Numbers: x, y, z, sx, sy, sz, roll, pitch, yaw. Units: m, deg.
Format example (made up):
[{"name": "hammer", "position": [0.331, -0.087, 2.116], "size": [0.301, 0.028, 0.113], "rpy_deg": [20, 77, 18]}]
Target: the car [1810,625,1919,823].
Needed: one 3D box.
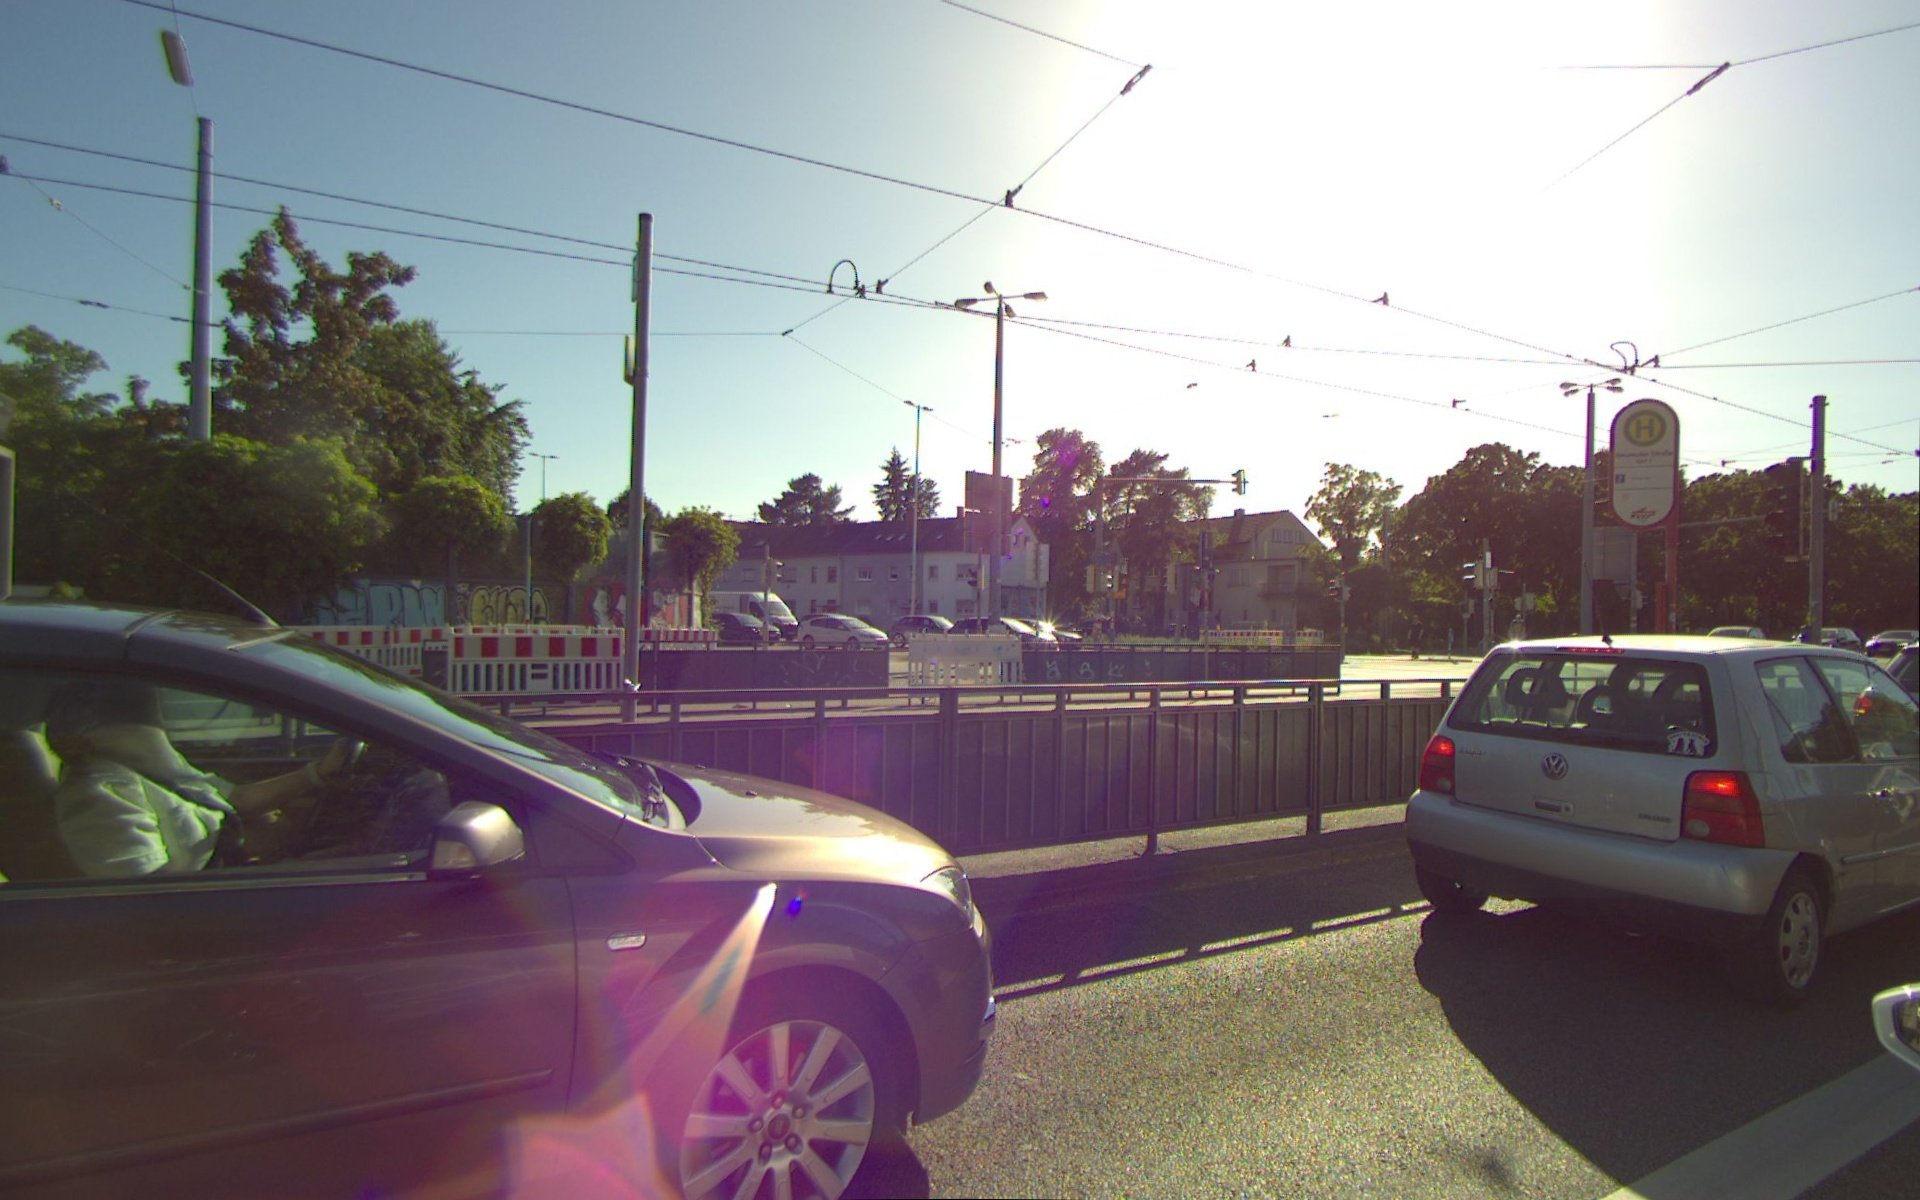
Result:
[{"name": "car", "position": [9.504, 1.024, 8.838], "size": [4.372, 1.548, 1.867], "rpy_deg": [2, -1, -32]}]

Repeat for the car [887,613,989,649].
[{"name": "car", "position": [-0.995, 1.349, 44.868], "size": [4.185, 1.486, 1.933], "rpy_deg": [0, 0, 32]}]

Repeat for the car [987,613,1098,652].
[{"name": "car", "position": [3.391, 1.317, 41.561], "size": [4.175, 1.486, 1.933], "rpy_deg": [0, -1, 32]}]

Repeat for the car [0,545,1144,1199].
[{"name": "car", "position": [-1.692, 0.711, 2.371], "size": [4.150, 1.554, 1.740], "rpy_deg": [2, -1, -33]}]

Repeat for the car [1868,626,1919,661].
[{"name": "car", "position": [48.673, 2.239, 52.006], "size": [3.965, 1.710, 1.778], "rpy_deg": [2, -1, -37]}]

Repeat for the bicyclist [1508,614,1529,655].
[{"name": "bicyclist", "position": [22.459, 1.370, 40.415], "size": [0.641, 1.629, 0.487], "rpy_deg": [1, -1, -31]}]

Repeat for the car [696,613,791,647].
[{"name": "car", "position": [-10.122, 1.386, 46.989], "size": [4.185, 1.485, 1.933], "rpy_deg": [0, -1, 32]}]

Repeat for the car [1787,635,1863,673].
[{"name": "car", "position": [40.484, 2.484, 46.999], "size": [4.650, 1.617, 1.800], "rpy_deg": [2, -1, -38]}]

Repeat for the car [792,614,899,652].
[{"name": "car", "position": [-4.926, 1.381, 42.928], "size": [4.290, 1.485, 1.933], "rpy_deg": [0, -1, 32]}]

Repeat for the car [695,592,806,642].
[{"name": "car", "position": [-10.866, 0.852, 51.926], "size": [5.823, 2.443, 2.174], "rpy_deg": [0, -1, 35]}]

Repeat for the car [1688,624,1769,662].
[{"name": "car", "position": [31.791, 1.767, 41.511], "size": [3.667, 1.477, 1.672], "rpy_deg": [2, -1, -35]}]

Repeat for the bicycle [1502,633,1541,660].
[{"name": "bicycle", "position": [22.665, 1.869, 40.532], "size": [1.926, 1.056, 0.504], "rpy_deg": [1, -1, -31]}]

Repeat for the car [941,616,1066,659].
[{"name": "car", "position": [1.638, 1.413, 38.546], "size": [4.556, 1.496, 1.668], "rpy_deg": [0, -1, 32]}]

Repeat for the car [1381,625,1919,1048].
[{"name": "car", "position": [3.924, 0.904, 5.182], "size": [3.376, 1.487, 1.573], "rpy_deg": [2, -1, -32]}]

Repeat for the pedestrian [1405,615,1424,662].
[{"name": "pedestrian", "position": [19.154, 1.611, 42.365], "size": [0.599, 1.974, 0.776], "rpy_deg": [1, 0, 16]}]
